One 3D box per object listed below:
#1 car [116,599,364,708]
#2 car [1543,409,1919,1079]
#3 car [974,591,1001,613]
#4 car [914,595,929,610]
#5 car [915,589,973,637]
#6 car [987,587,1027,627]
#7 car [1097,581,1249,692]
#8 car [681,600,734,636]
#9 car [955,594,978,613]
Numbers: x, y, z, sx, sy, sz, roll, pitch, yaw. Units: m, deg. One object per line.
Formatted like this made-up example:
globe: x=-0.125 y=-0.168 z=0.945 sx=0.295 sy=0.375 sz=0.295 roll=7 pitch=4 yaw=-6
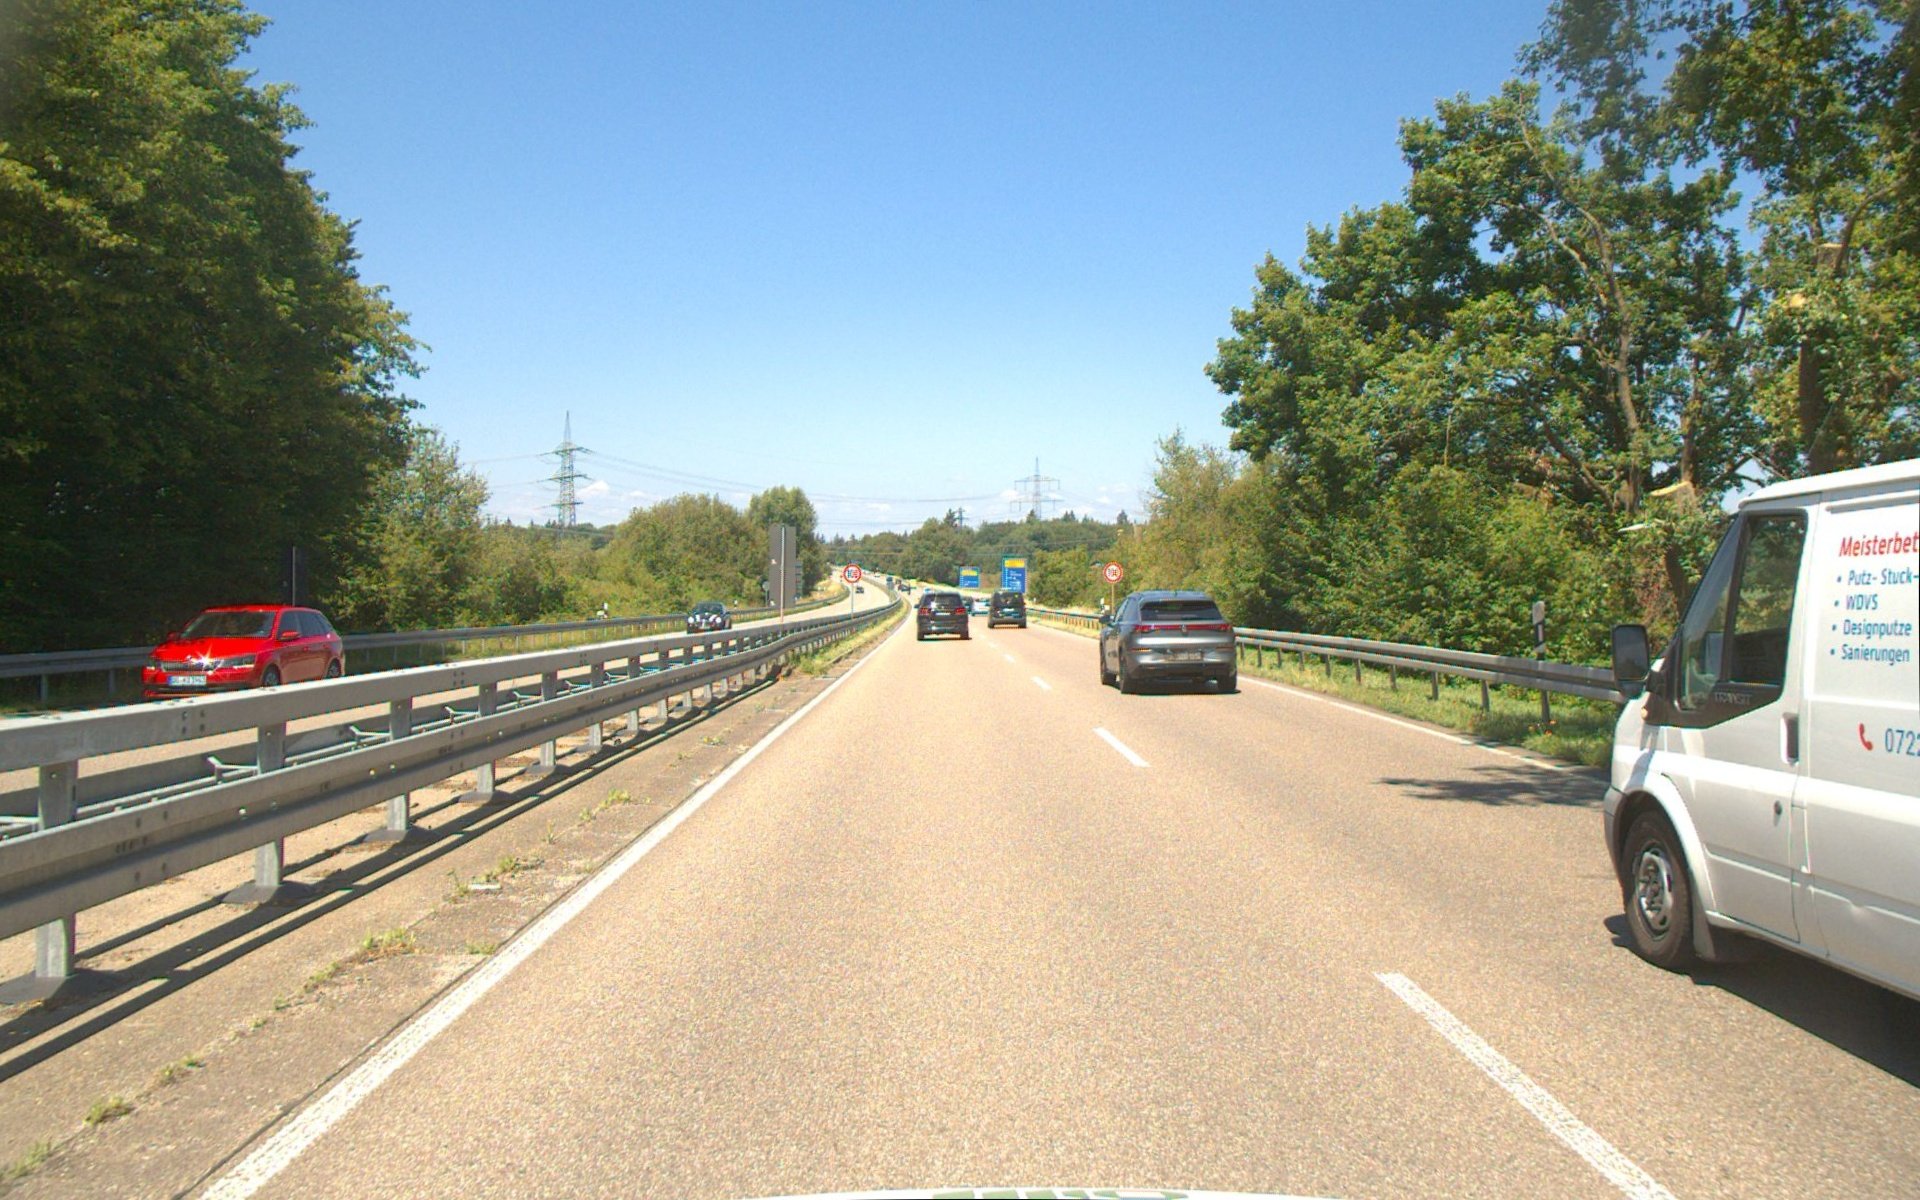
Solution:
car: x=-10.485 y=0.718 z=24.484 sx=1.740 sy=1.444 sz=4.574 roll=-1 pitch=0 yaw=-1
car: x=3.861 y=0.421 z=5.445 sx=1.965 sy=2.023 sz=5.033 roll=-1 pitch=0 yaw=-2
car: x=2.097 y=0.136 z=126.818 sx=1.743 sy=1.505 sz=4.313 roll=3 pitch=0 yaw=-3
car: x=-4.077 y=0.235 z=176.619 sx=1.484 sy=1.500 sz=3.065 roll=2 pitch=1 yaw=-3
car: x=-0.630 y=0.437 z=60.833 sx=1.954 sy=1.683 sz=3.998 roll=1 pitch=0 yaw=-3
car: x=2.276 y=0.335 z=81.350 sx=1.743 sy=1.848 sz=4.212 roll=-1 pitch=1 yaw=-1
car: x=3.298 y=0.513 z=26.346 sx=1.749 sy=1.580 sz=4.018 roll=-1 pitch=1 yaw=-2
car: x=-11.234 y=0.768 z=73.882 sx=1.761 sy=1.493 sz=3.773 roll=1 pitch=0 yaw=0
car: x=0.569 y=0.280 z=139.836 sx=1.783 sy=1.439 sz=3.999 roll=-1 pitch=1 yaw=-2
